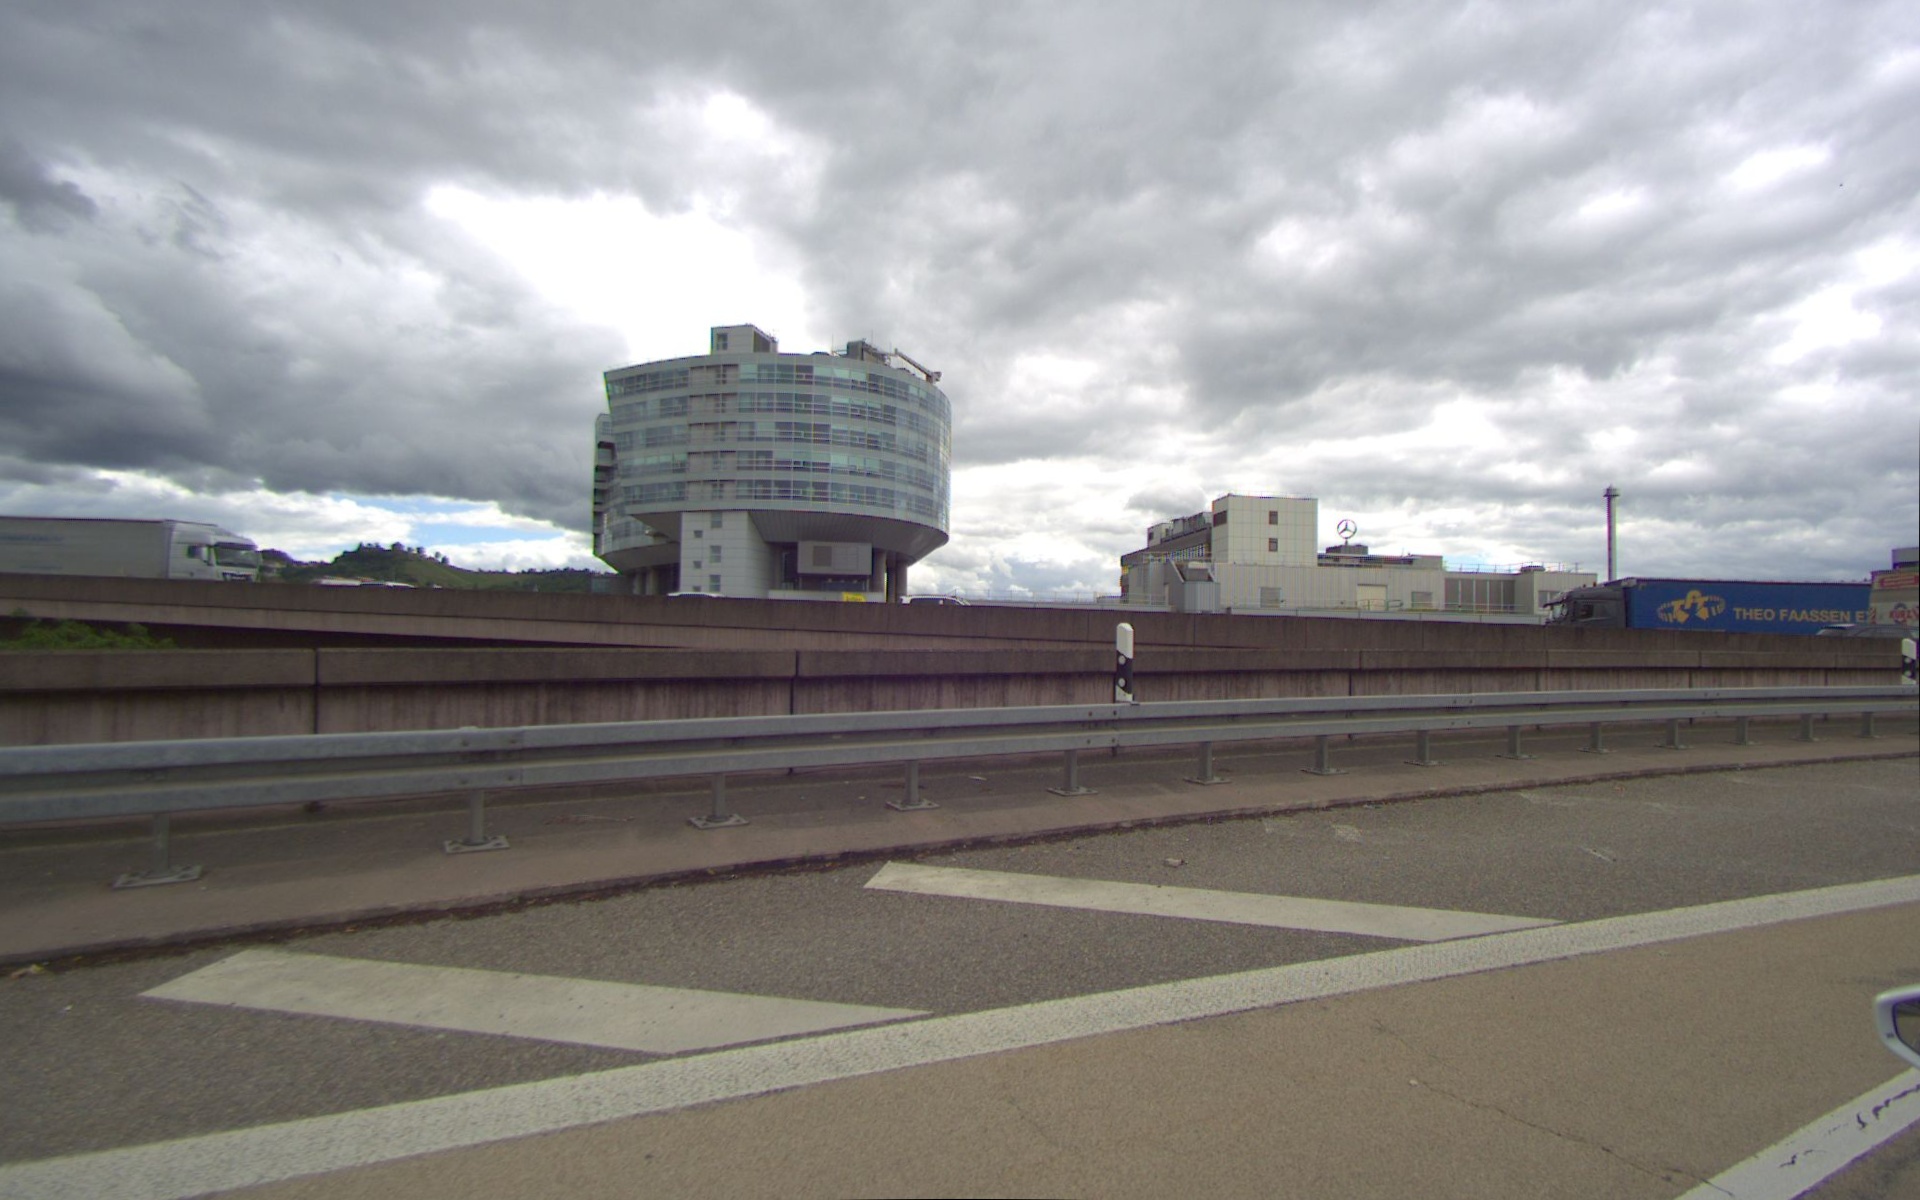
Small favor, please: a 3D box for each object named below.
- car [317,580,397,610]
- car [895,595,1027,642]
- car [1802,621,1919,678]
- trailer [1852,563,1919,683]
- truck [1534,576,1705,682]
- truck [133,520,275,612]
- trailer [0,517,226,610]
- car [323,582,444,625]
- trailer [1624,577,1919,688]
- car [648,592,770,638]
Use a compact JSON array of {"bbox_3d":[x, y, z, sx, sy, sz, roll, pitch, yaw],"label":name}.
[{"bbox_3d":[-32.784,-0.301,54.642,3.576,1.539,1.689,1,2,13],"label":"car"},{"bbox_3d":[0.045,0.698,39.393,4.793,1.691,2.001,1,0,15],"label":"car"},{"bbox_3d":[27.515,1.452,29.234,4.179,1.525,1.853,1,0,12],"label":"car"},{"bbox_3d":[33.613,0.835,32.136,7.164,3.738,2.702,1,-2,11],"label":"trailer"},{"bbox_3d":[29.125,1.286,44.649,5.579,4.403,3.174,1,-2,13],"label":"truck"},{"bbox_3d":[-35.349,-1.580,47.047,4.694,4.065,2.867,2,1,12],"label":"truck"},{"bbox_3d":[-42.494,-1.820,48.542,13.690,4.065,2.867,2,1,12],"label":"trailer"},{"bbox_3d":[-22.482,0.115,39.195,3.919,1.539,1.789,1,1,13],"label":"car"},{"bbox_3d":[36.048,1.388,43.126,12.263,4.403,3.174,1,-2,12],"label":"trailer"},{"bbox_3d":[-9.052,0.520,36.291,3.919,1.517,1.715,1,0,12],"label":"car"}]
